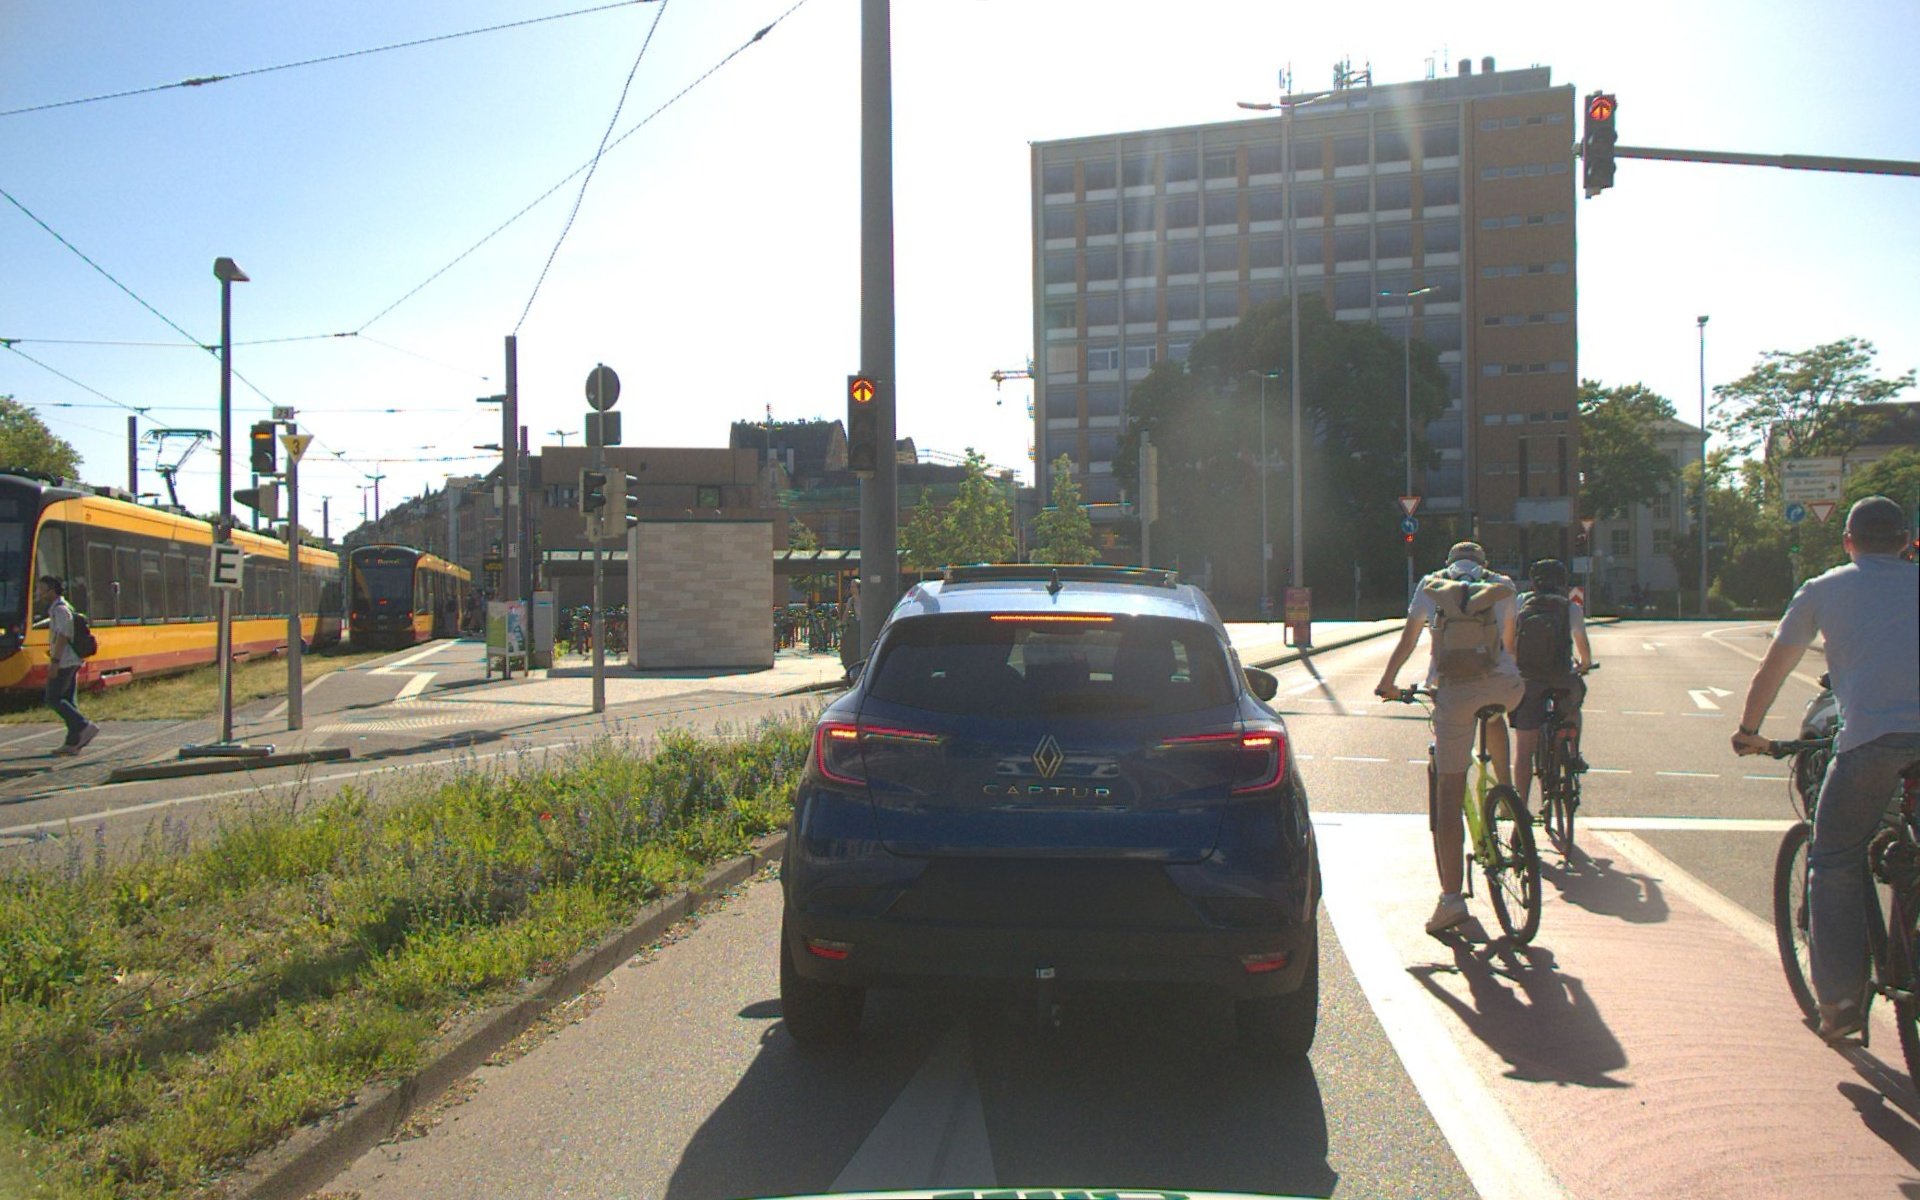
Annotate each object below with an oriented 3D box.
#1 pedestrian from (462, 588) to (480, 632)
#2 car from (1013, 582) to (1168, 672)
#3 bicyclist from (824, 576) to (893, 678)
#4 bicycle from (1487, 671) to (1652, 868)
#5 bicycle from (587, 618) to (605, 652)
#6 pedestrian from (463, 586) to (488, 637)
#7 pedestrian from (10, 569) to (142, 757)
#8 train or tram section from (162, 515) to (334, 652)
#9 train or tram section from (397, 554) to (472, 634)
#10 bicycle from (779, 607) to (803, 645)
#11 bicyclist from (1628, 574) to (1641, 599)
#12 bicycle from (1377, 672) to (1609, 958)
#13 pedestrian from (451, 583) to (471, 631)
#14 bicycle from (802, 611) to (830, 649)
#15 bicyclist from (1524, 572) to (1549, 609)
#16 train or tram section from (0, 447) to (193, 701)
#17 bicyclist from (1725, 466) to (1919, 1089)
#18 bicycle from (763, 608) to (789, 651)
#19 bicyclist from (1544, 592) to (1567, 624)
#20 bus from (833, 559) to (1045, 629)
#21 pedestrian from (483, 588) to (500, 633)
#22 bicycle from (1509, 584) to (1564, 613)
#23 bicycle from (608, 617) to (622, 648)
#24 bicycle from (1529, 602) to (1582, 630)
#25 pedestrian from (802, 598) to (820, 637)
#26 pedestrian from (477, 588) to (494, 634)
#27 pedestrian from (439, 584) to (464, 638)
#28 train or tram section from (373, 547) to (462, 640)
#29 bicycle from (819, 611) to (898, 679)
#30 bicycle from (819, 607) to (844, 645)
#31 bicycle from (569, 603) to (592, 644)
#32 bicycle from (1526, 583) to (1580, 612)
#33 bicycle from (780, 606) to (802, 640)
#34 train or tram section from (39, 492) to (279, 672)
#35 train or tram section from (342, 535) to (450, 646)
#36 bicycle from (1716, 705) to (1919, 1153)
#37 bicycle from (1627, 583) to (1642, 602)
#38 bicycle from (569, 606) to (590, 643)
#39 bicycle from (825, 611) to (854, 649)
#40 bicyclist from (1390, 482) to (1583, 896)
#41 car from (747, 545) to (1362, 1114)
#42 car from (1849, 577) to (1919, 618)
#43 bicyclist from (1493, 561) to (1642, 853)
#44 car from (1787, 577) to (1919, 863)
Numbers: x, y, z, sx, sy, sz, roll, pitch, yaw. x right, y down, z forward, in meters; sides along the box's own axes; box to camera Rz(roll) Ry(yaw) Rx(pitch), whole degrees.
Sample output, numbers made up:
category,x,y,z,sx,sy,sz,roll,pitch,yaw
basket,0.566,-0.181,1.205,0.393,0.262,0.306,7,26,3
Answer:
category,x,y,z,sx,sy,sz,roll,pitch,yaw
pedestrian,-21.137,0.458,71.518,0.620,1.889,0.701,1,-1,-9
car,2.460,0.444,30.177,1.763,1.417,4.094,-1,2,20
bicyclist,-1.711,0.455,28.085,0.861,1.673,1.061,-1,-1,13
bicycle,3.670,0.975,10.100,0.707,0.976,1.885,1,0,13
bicycle,-10.449,0.999,47.452,0.415,0.954,1.300,1,0,-15
pedestrian,-18.047,0.435,61.608,0.833,1.916,0.757,1,-1,-16
pedestrian,-9.178,0.641,17.213,1.000,1.864,0.757,-2,-1,-16
train or tram section,-20.675,-0.410,48.754,2.768,3.569,11.170,0,0,-14
train or tram section,-25.041,-0.265,79.226,2.823,3.569,10.502,0,0,-14
bicycle,-4.973,0.764,48.602,0.570,1.107,2.054,1,-1,-9
bicyclist,41.143,-0.830,100.919,0.606,1.469,0.818,-1,0,29
bicycle,2.399,0.911,7.659,0.648,1.065,1.891,0,0,6
pedestrian,-19.597,0.287,64.944,0.661,1.889,0.701,1,-1,-9
bicycle,-3.739,0.779,42.962,0.570,0.978,2.054,1,-1,-9
bicyclist,31.128,-0.510,89.290,1.183,1.930,0.883,0,-1,24
train or tram section,-15.578,-0.346,28.129,2.771,3.569,10.437,-1,0,-15
bicyclist,2.984,0.513,5.277,0.733,1.807,1.015,0,0,9
bicycle,-4.733,0.765,42.571,0.570,1.076,1.812,1,-1,-9
bicyclist,33.737,0.452,93.715,1.132,1.829,0.885,0,-1,12
bus,-1.278,-0.215,86.852,12.212,3.455,2.868,-1,-2,40
pedestrian,-20.023,0.448,70.637,0.621,1.889,0.701,1,-1,-11
bicycle,31.122,-0.067,89.296,2.746,1.568,0.883,0,-1,25
bicycle,-10.955,1.015,52.466,0.414,0.954,1.375,1,0,-12
bicycle,33.732,0.899,93.712,2.742,1.568,0.885,0,-1,12
pedestrian,-7.209,0.834,79.834,0.710,1.889,0.703,0,-1,8
pedestrian,-19.908,0.474,69.349,0.623,1.889,0.699,1,-1,-20
pedestrian,-18.424,0.400,59.913,0.833,1.916,0.757,1,-1,-16
train or tram section,-22.487,-0.251,69.048,2.823,3.569,10.502,0,0,-14
bicycle,-1.698,0.744,28.042,0.756,1.099,2.037,-1,-1,13
bicycle,-3.788,0.773,48.692,0.570,1.107,2.054,1,-1,-9
bicycle,-10.490,0.663,45.734,0.556,1.112,2.023,1,-1,-11
bicycle,32.973,-0.116,91.937,2.746,1.568,0.883,0,-1,25
bicycle,-5.746,0.780,56.064,0.570,1.107,1.866,1,-1,-11
train or tram section,-18.116,-0.346,38.248,2.768,3.569,10.573,0,0,-14
train or tram section,-19.875,-0.303,58.822,2.823,3.569,10.502,0,0,-14
bicycle,3.028,0.949,5.339,0.598,1.096,1.831,0,0,9
bicycle,41.194,-0.482,100.987,0.597,1.112,1.669,-1,0,29
bicycle,-11.954,0.774,52.019,0.556,1.112,2.023,1,-1,-11
bicycle,-3.139,0.784,43.058,0.570,0.978,2.054,1,-1,-9
bicyclist,2.397,0.382,7.627,0.649,1.778,1.006,0,0,6
car,0.421,0.655,6.677,1.785,1.628,3.661,1,0,5
car,39.861,-0.159,69.707,4.155,1.596,1.821,-3,0,28
bicyclist,3.644,0.604,10.001,0.706,1.654,1.056,1,0,13
car,6.191,0.658,9.373,1.718,1.568,3.662,0,0,10
